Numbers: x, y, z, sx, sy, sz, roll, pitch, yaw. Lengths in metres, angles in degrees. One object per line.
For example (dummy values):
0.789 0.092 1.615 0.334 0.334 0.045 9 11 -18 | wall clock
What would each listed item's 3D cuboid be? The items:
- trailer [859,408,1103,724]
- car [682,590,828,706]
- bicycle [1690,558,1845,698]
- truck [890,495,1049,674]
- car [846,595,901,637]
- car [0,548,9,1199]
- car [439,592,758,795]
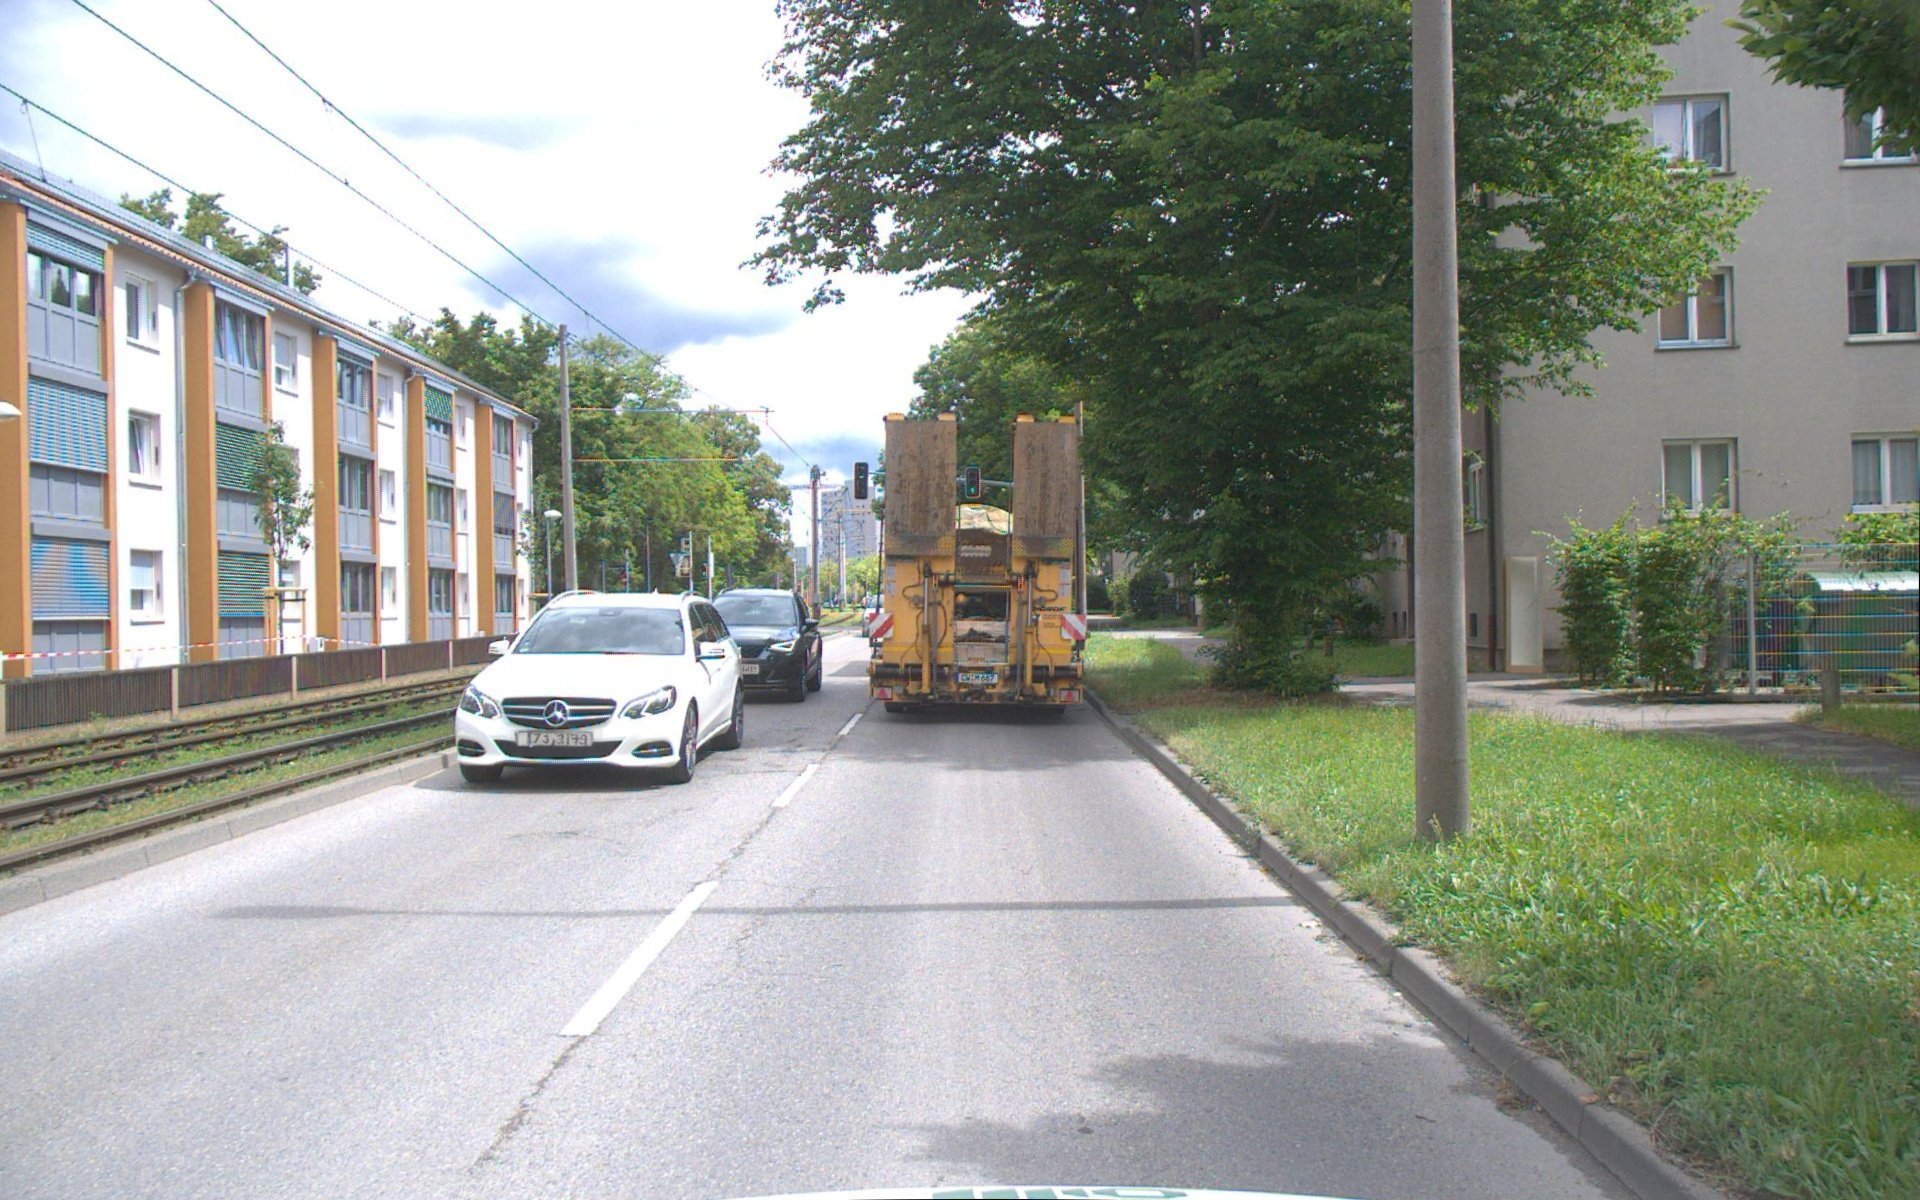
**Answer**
0.194 -0.406 24.387 2.765 3.585 11.050 0 0 -1 | trailer
-2.883 0.631 23.985 1.616 1.547 3.865 0 0 0 | car
9.638 0.322 19.803 1.319 1.601 1.072 -1 0 2 | bicycle
0.171 -0.297 33.733 2.857 3.222 7.680 0 0 0 | truck
-3.023 0.543 58.248 1.694 1.442 3.984 0 0 0 | car
-2.823 0.684 1.509 1.683 1.579 3.916 0 0 -1 | car
-2.965 0.690 14.582 1.841 1.507 4.528 0 0 0 | car
